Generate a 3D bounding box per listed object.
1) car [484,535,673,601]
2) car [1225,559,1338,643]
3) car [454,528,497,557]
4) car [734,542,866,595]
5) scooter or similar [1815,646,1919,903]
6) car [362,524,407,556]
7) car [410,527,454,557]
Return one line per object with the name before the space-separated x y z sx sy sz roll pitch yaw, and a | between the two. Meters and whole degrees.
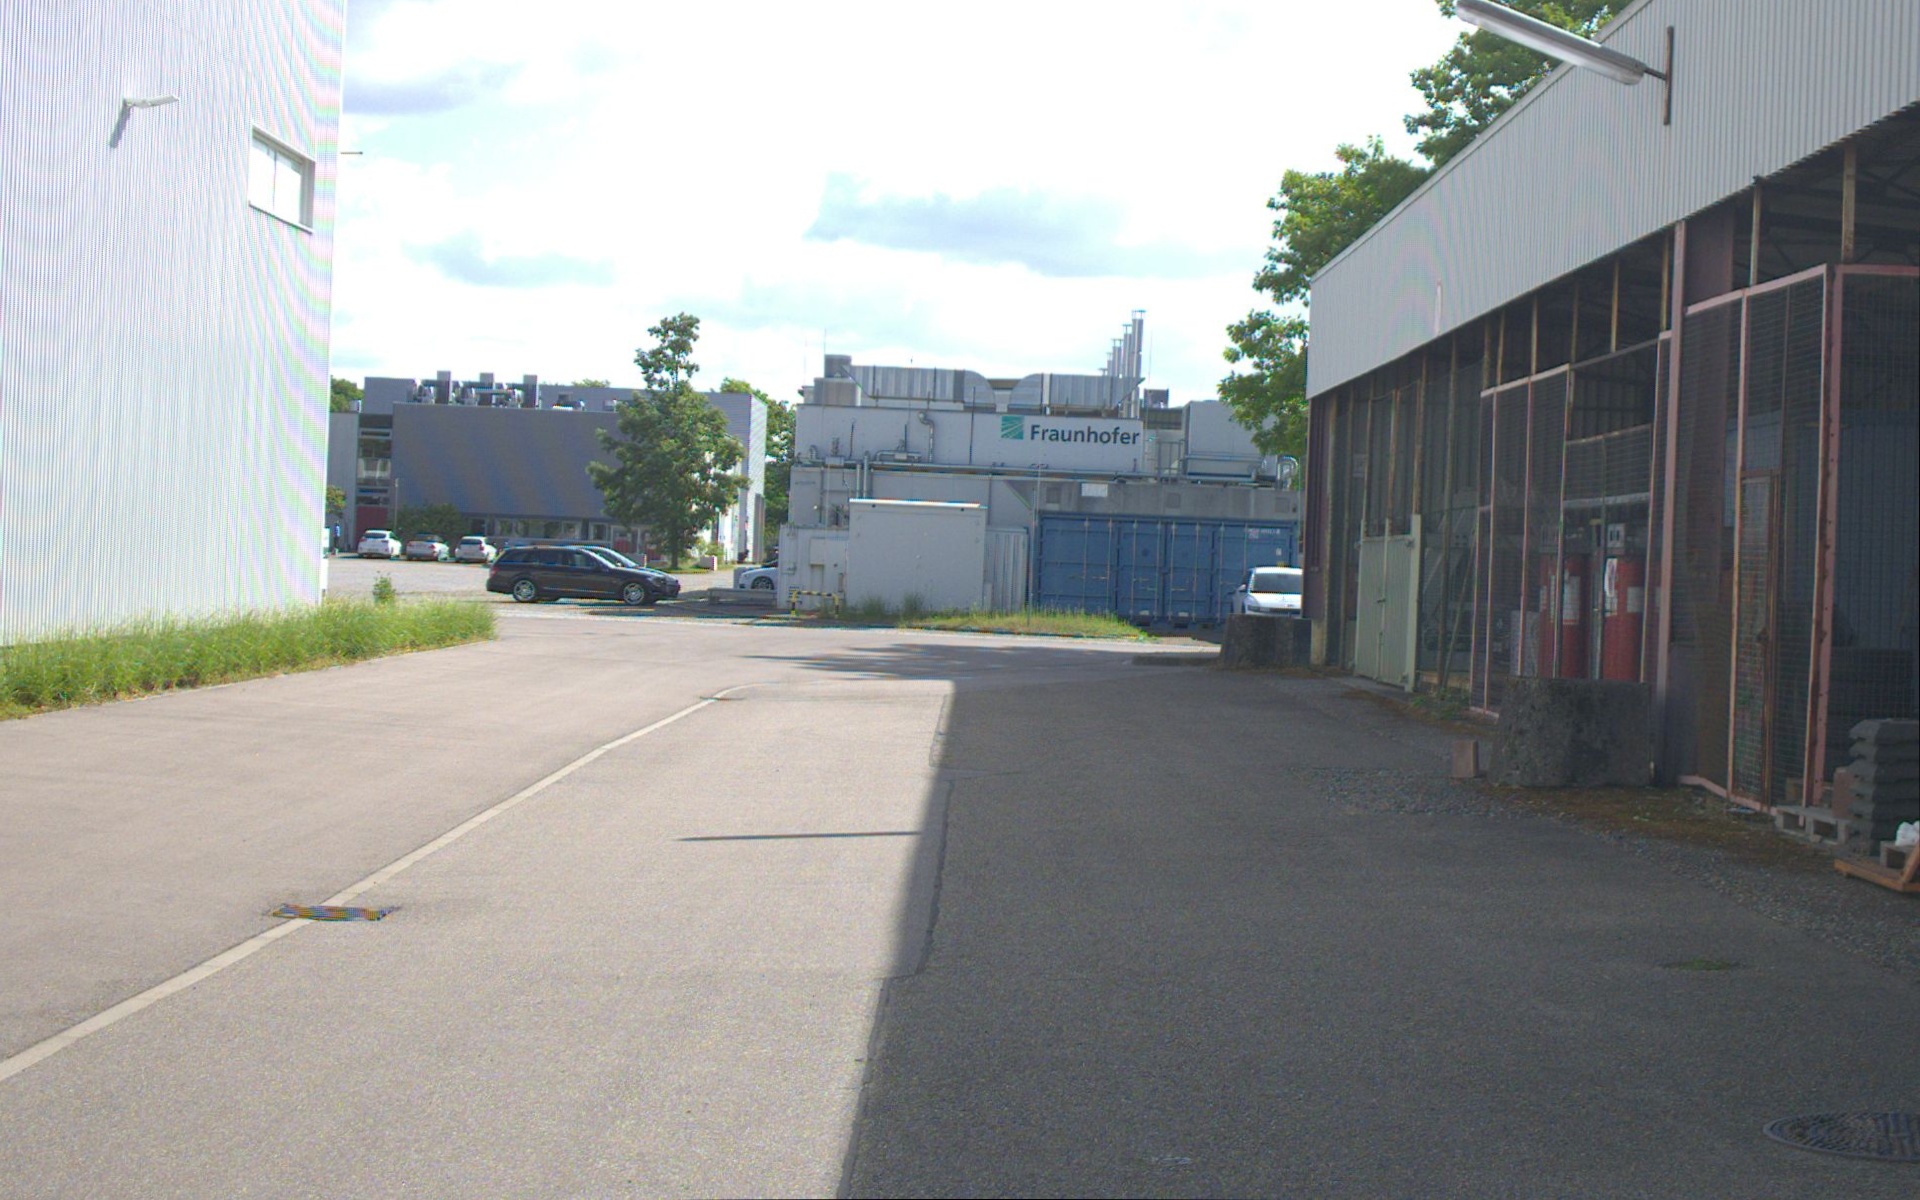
car | -9.702 -0.810 87.578 4.529 1.438 1.987 2 -1 1
car | 6.960 -0.012 74.865 1.981 1.588 4.341 3 2 0
car | -25.998 -3.078 184.713 1.877 1.532 4.036 1 0 -2
car | -5.355 -1.040 115.294 4.279 1.564 1.987 2 -1 1
scooter or similar | 4.519 0.802 16.249 0.520 1.131 1.592 2 0 0
car | -30.892 -3.216 184.677 1.877 1.684 4.036 1 0 -2
car | -28.326 -3.106 184.508 1.877 1.532 4.036 1 0 -2
